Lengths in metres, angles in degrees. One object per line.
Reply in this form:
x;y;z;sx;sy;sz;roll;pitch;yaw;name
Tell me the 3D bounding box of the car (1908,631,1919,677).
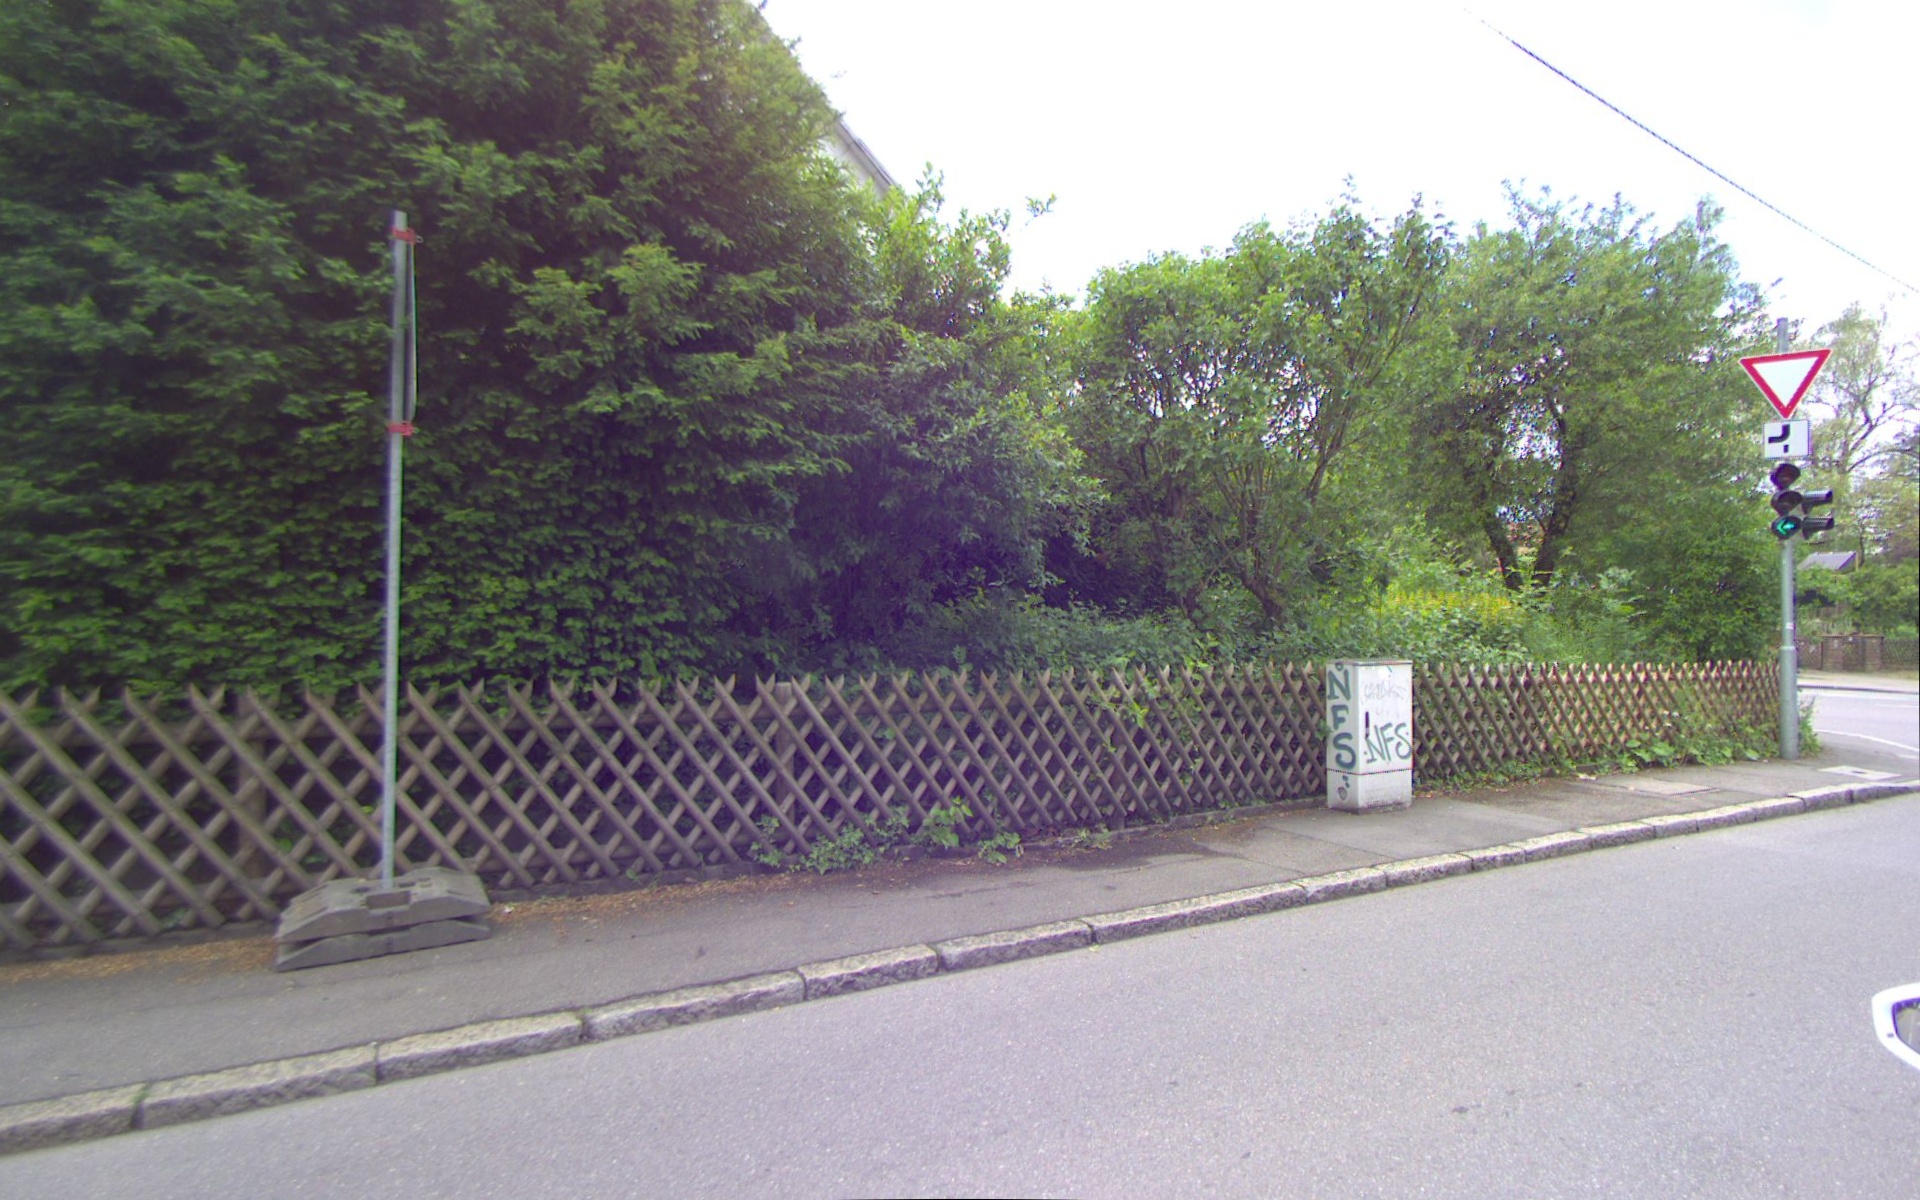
32.854;1.809;32.266;3.479;1.468;1.700;2;1;-10;car
